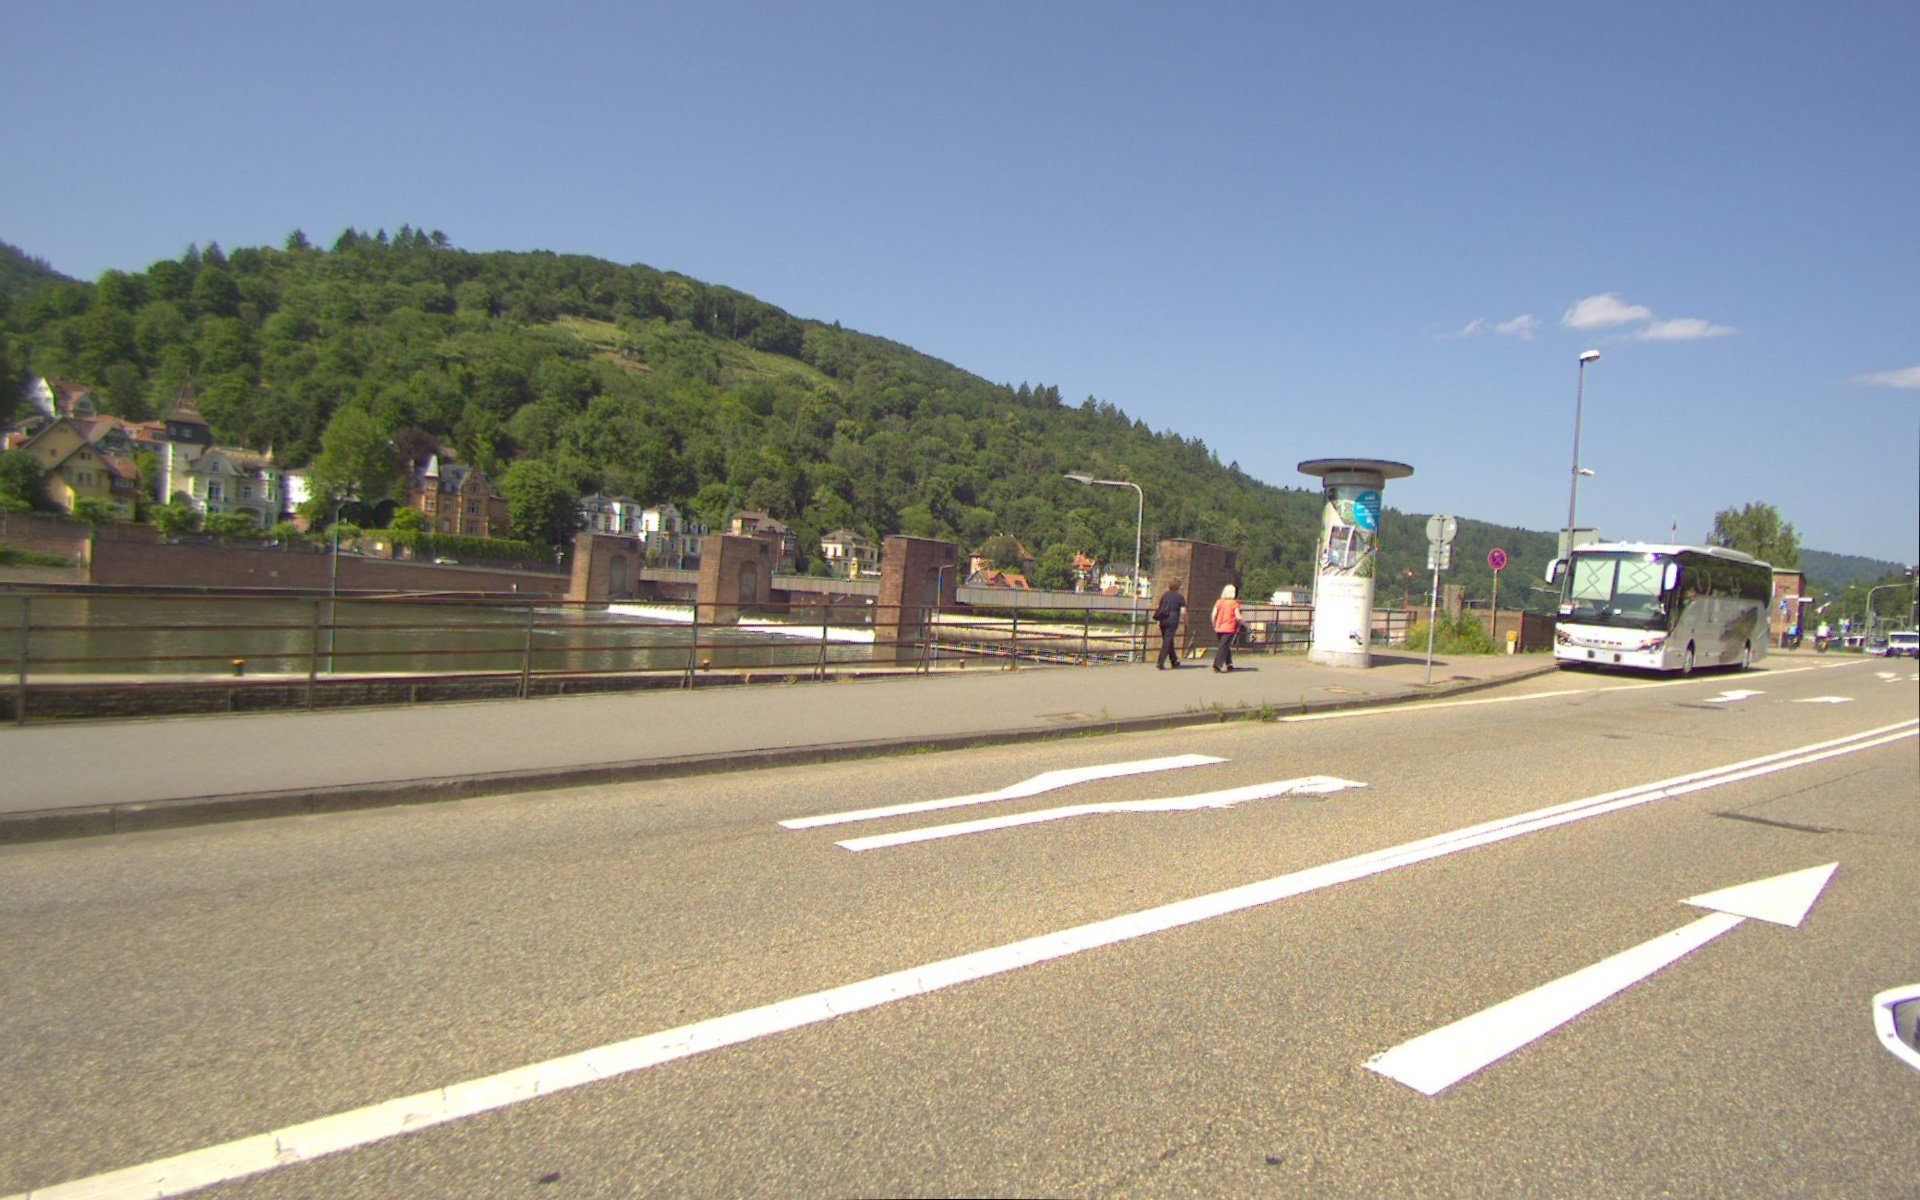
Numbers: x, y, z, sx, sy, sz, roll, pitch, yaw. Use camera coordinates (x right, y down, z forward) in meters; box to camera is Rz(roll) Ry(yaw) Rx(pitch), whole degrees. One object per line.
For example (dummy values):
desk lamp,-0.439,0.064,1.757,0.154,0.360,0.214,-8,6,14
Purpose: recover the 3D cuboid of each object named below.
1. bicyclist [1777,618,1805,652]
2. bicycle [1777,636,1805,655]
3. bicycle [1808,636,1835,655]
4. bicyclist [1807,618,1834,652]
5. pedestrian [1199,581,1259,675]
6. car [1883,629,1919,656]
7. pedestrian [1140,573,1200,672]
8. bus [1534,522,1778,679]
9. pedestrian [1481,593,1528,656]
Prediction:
bicyclist,50.915,2.138,61.521,1.199,2.040,1.112,2,0,43
bicycle,50.929,2.773,61.567,1.199,1.105,2.583,2,0,42
bicycle,52.641,2.750,61.365,1.199,1.105,2.583,0,-1,42
bicyclist,52.707,2.113,61.515,1.199,2.040,1.112,0,-1,43
pedestrian,4.942,0.507,18.427,0.695,1.643,0.812,3,1,44
car,78.240,3.478,83.475,2.190,2.106,5.016,2,0,42
pedestrian,3.818,0.401,18.269,0.767,1.732,0.676,2,1,-42
bus,21.198,0.105,30.029,13.145,3.851,2.929,2,1,-42
pedestrian,16.303,0.731,30.064,1.033,1.820,0.884,2,1,-43
